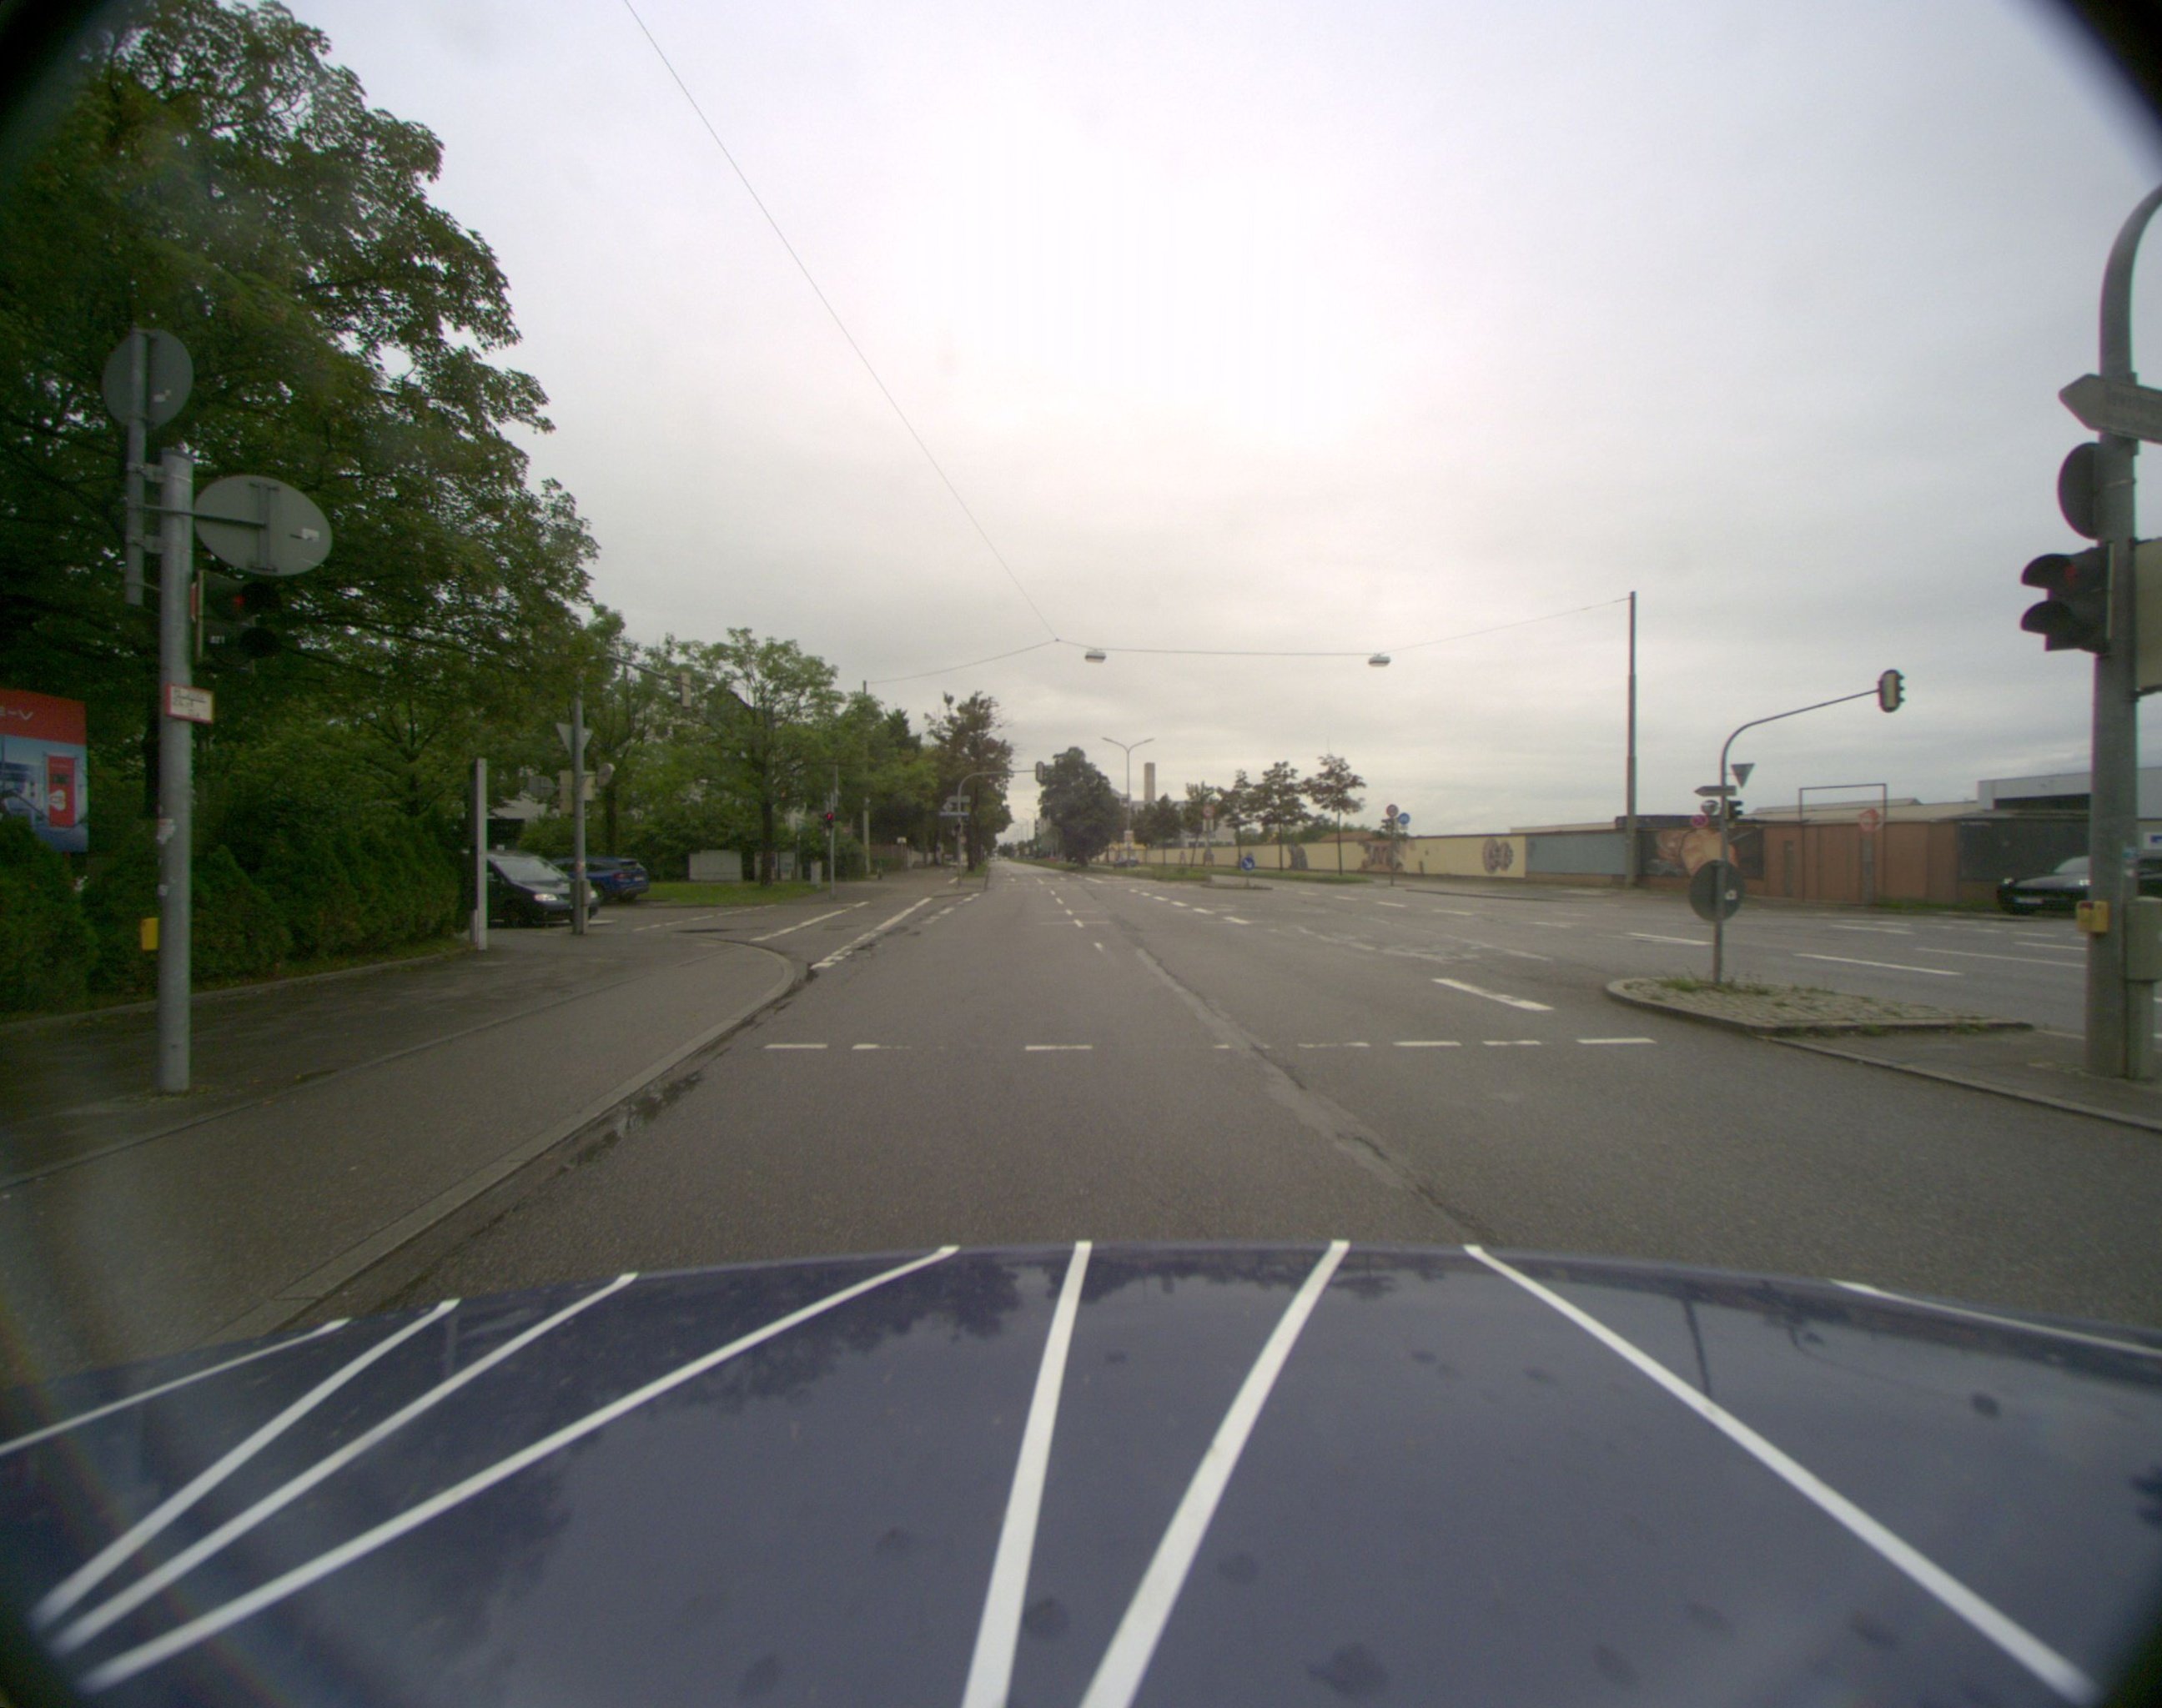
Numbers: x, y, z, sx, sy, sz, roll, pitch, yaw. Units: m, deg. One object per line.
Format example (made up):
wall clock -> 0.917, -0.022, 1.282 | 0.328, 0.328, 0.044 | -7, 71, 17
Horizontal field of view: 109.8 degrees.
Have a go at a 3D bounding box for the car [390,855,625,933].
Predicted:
car -> -13.702, 0.917, 18.222 | 4.781, 1.712, 2.003 | -1, 0, 16

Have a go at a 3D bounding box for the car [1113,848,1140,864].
car -> 4.472, 0.193, 75.659 | 1.917, 1.498, 4.436 | 1, 0, -6

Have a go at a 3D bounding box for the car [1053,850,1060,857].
car -> -6.189, -0.028, 189.753 | 1.489, 1.705, 3.548 | 1, 0, -8

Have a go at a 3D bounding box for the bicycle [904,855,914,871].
bicycle -> -14.292, 0.738, 63.255 | 0.584, 1.288, 2.452 | 1, 0, -9

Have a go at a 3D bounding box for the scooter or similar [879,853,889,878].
scooter or similar -> -11.449, 0.647, 44.123 | 0.371, 1.416, 1.403 | 1, 0, -22

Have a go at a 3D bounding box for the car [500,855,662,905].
car -> -17.339, 0.876, 26.490 | 4.279, 1.566, 1.999 | -1, 2, 2

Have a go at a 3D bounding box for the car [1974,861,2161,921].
car -> 26.440, 0.919, 19.767 | 4.262, 1.419, 1.999 | -1, 0, -4
